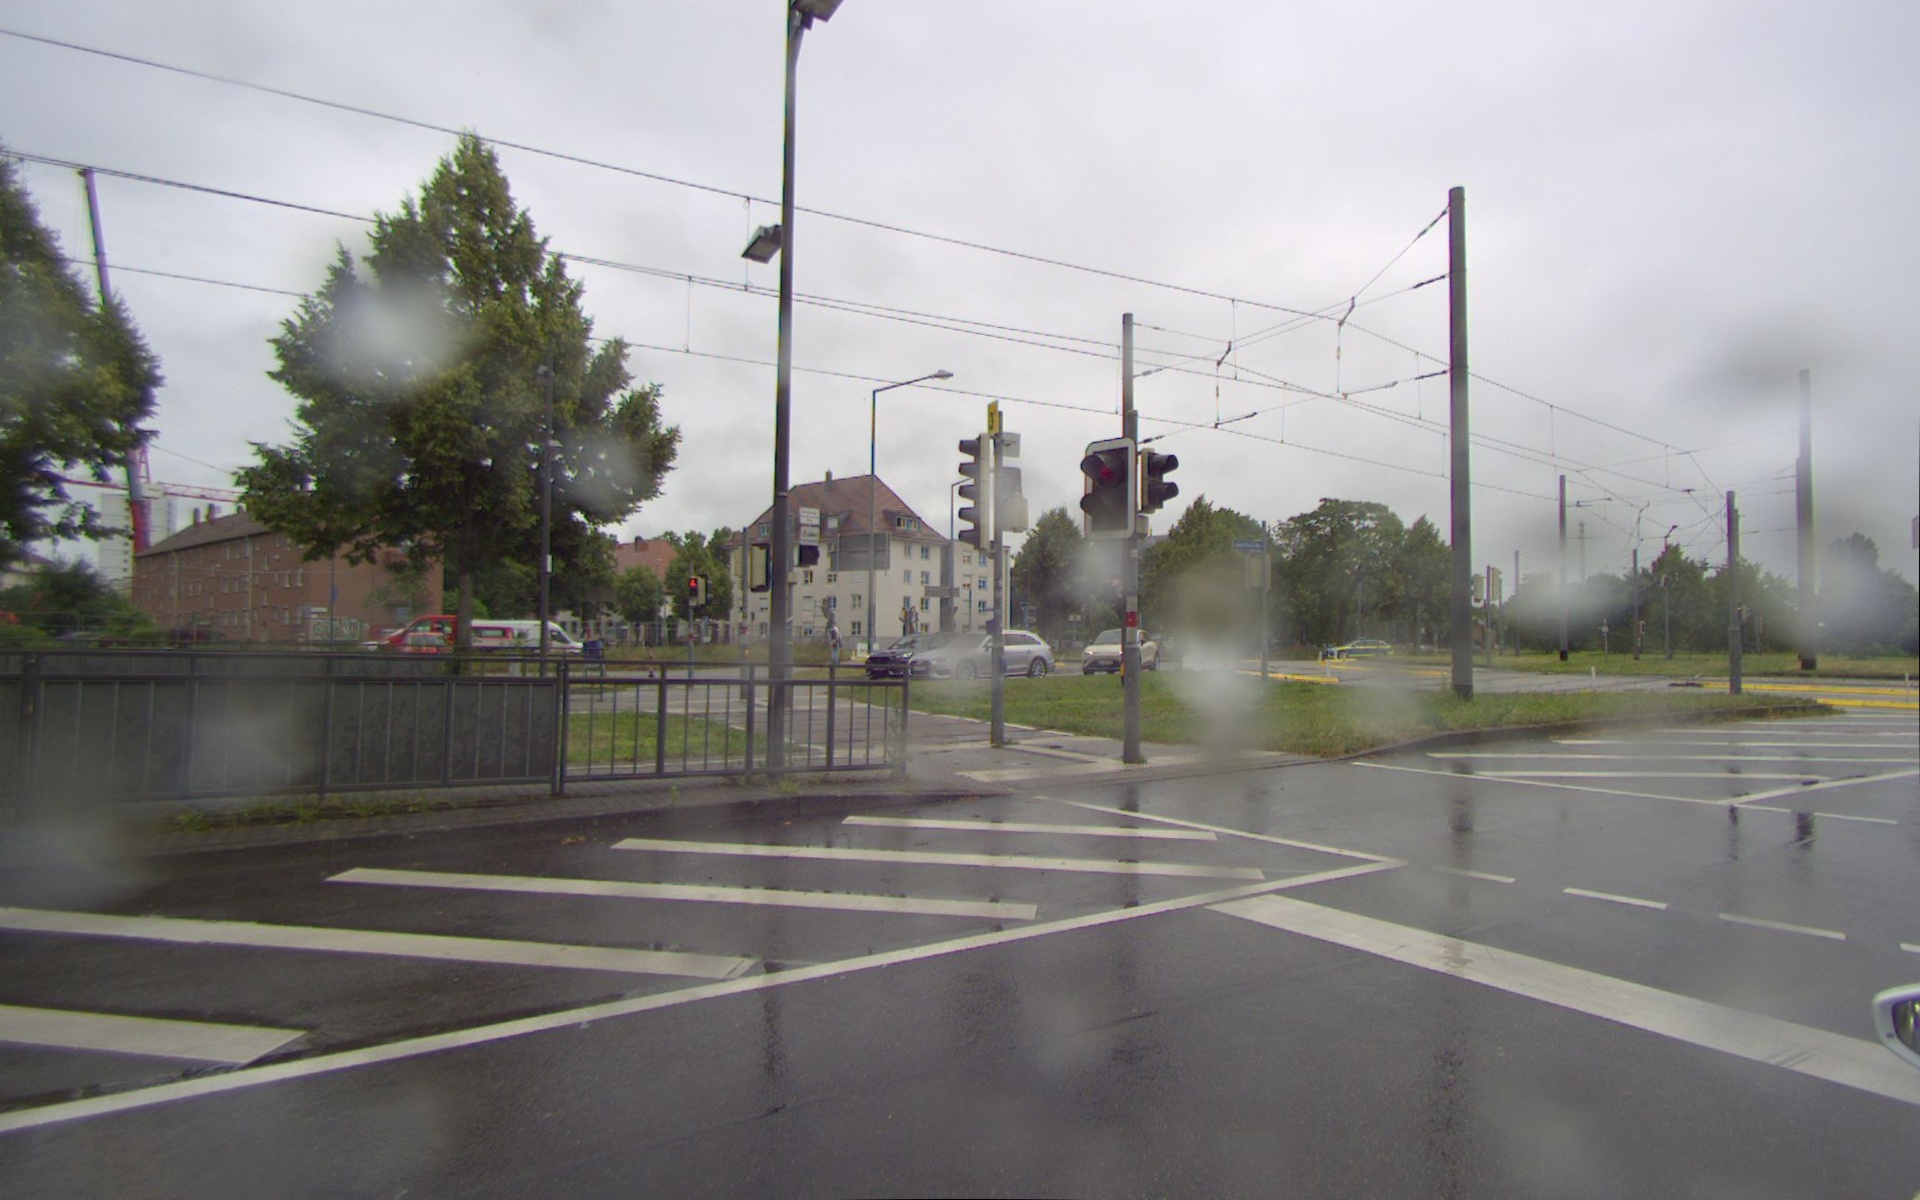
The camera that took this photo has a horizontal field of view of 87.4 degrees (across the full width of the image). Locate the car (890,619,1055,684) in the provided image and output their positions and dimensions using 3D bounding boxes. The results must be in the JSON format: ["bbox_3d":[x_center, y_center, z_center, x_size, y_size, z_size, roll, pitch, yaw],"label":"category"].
[{"bbox_3d":[0.395,1.366,27.468,4.371,1.649,1.975,2,-2,-42],"label":"car"}]

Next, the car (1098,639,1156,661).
[{"bbox_3d":[11.828,3.537,71.432,3.907,1.473,1.624,0,-2,4],"label":"car"}]

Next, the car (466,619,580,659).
[{"bbox_3d":[-25.860,2.327,59.645,6.004,2.308,1.617,1,-2,-18],"label":"car"}]

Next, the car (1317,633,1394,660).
[{"bbox_3d":[28.278,3.343,71.911,4.681,1.875,2.001,0,-2,1],"label":"car"}]

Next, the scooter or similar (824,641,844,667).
[{"bbox_3d":[-6.283,2.669,50.182,0.438,1.276,1.591,-1,-2,14],"label":"scooter or similar"}]

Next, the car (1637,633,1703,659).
[{"bbox_3d":[55.149,3.548,78.036,3.921,1.840,1.681,2,0,-1],"label":"car"}]

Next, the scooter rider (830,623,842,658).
[{"bbox_3d":[-6.221,2.050,50.510,0.425,1.731,0.533,-2,-3,14],"label":"scooter rider"}]

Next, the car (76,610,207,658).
[{"bbox_3d":[-45.335,1.920,55.815,5.441,2.485,1.980,3,0,-36],"label":"car"}]

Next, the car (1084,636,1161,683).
[{"bbox_3d":[5.569,1.977,34.034,1.592,1.473,4.111,0,-2,24],"label":"car"}]

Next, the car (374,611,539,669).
[{"bbox_3d":[-22.304,1.793,44.826,6.389,2.502,1.616,1,-2,-20],"label":"car"}]

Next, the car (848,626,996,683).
[{"bbox_3d":[-1.133,1.645,31.167,4.371,1.649,1.975,2,-2,-42],"label":"car"}]
